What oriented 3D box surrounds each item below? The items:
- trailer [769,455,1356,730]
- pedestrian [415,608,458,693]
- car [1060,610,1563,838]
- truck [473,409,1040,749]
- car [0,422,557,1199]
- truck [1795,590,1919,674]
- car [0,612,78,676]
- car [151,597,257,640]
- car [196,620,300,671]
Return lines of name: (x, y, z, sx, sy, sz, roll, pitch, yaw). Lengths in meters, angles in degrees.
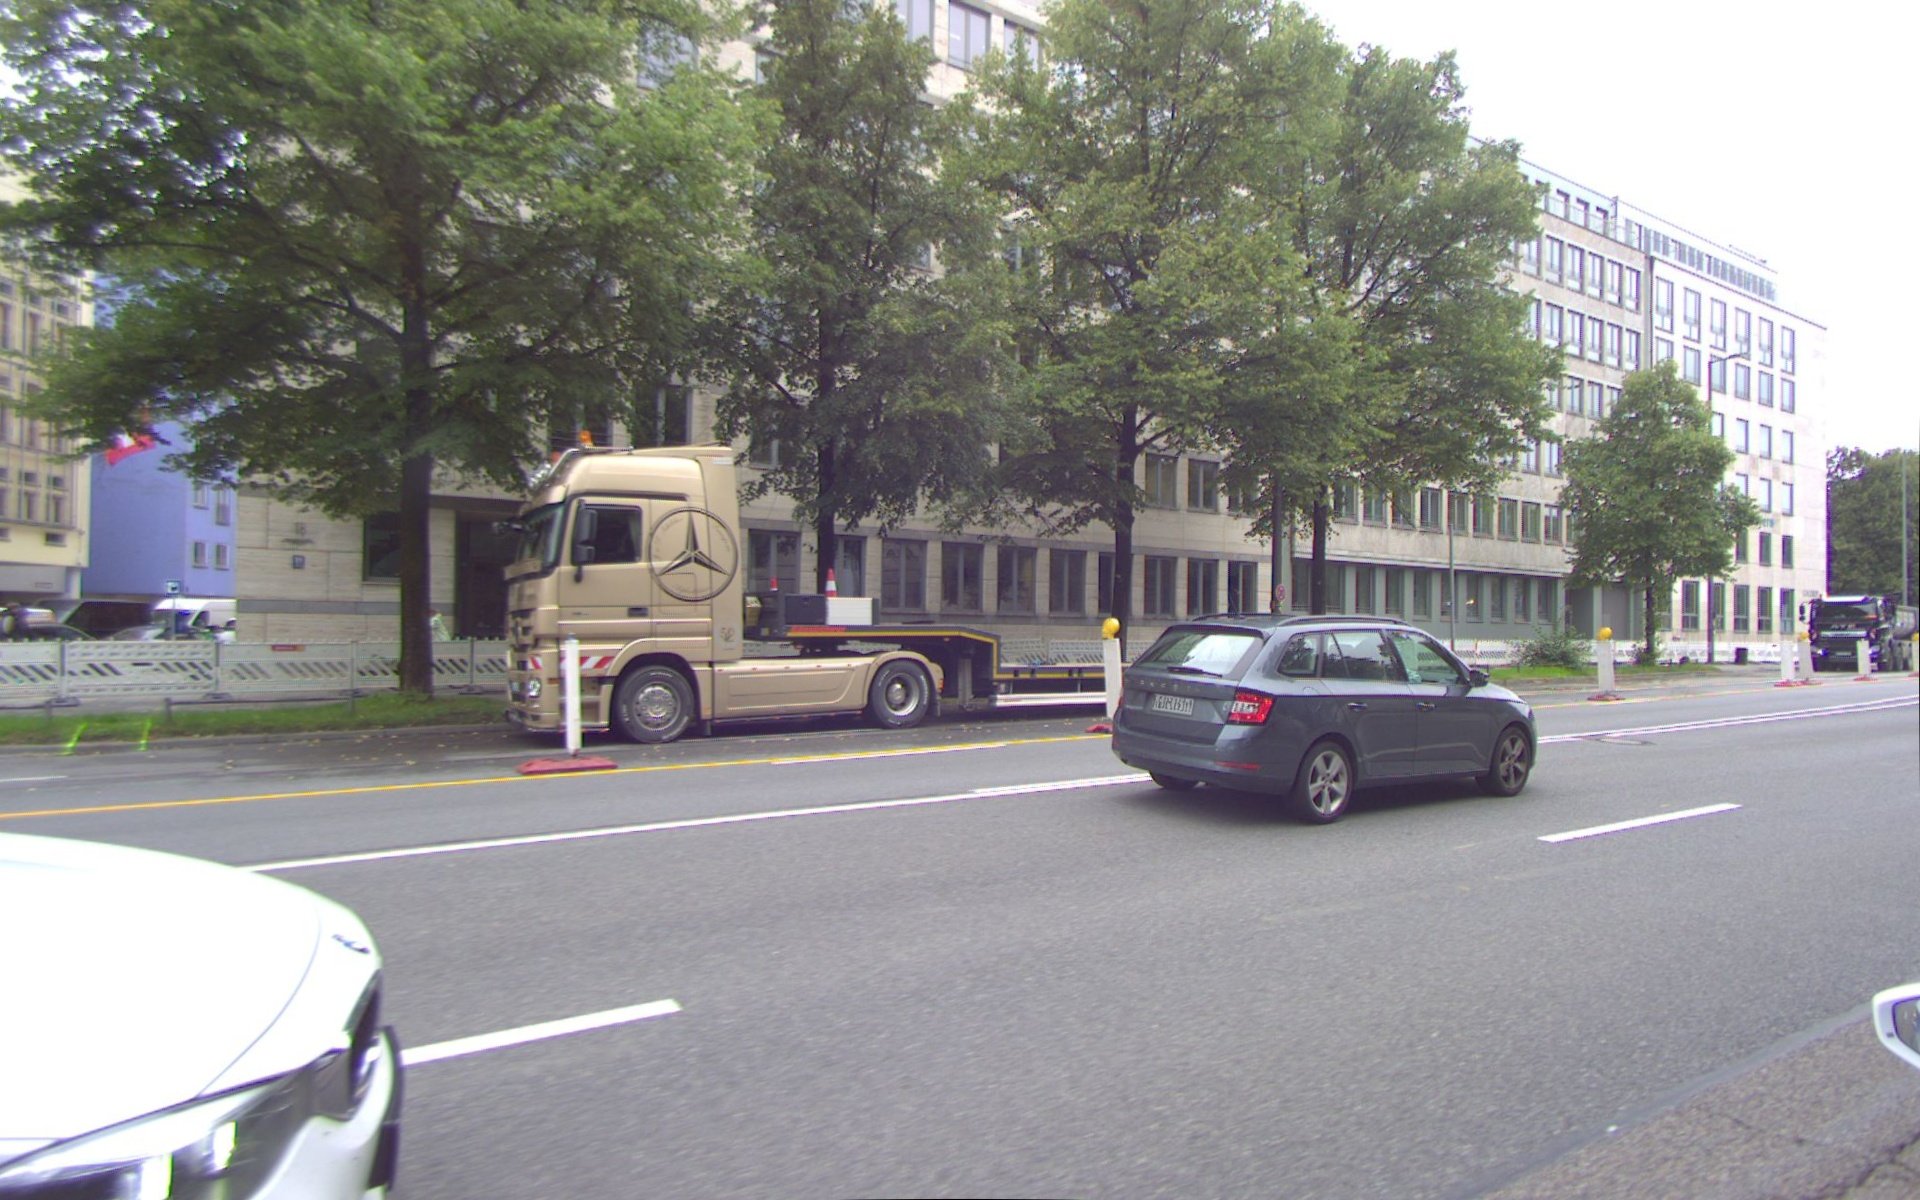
trailer: (2.520, 0.008, 18.438, 11.654, 3.790, 2.930, 1, 0, -35)
pedestrian: (-11.060, 1.050, 21.231, 0.755, 1.755, 0.575, 1, 0, -30)
car: (3.042, 0.870, 8.389, 4.230, 1.466, 1.782, 2, -2, -33)
truck: (-2.699, -0.165, 14.696, 7.589, 3.825, 2.897, 1, 0, -35)
car: (-3.126, 0.602, 0.811, 4.970, 1.658, 1.783, 2, -2, -32)
truck: (40.170, 1.388, 44.863, 8.691, 3.401, 2.817, 1, 0, -40)
car: (-29.916, 1.337, 30.639, 1.719, 1.935, 5.071, 0, -1, -3)
car: (-33.070, 0.835, 44.088, 1.834, 1.773, 3.998, 0, -1, -5)
car: (-24.929, 1.574, 35.289, 1.460, 1.686, 3.183, 0, -1, -3)
